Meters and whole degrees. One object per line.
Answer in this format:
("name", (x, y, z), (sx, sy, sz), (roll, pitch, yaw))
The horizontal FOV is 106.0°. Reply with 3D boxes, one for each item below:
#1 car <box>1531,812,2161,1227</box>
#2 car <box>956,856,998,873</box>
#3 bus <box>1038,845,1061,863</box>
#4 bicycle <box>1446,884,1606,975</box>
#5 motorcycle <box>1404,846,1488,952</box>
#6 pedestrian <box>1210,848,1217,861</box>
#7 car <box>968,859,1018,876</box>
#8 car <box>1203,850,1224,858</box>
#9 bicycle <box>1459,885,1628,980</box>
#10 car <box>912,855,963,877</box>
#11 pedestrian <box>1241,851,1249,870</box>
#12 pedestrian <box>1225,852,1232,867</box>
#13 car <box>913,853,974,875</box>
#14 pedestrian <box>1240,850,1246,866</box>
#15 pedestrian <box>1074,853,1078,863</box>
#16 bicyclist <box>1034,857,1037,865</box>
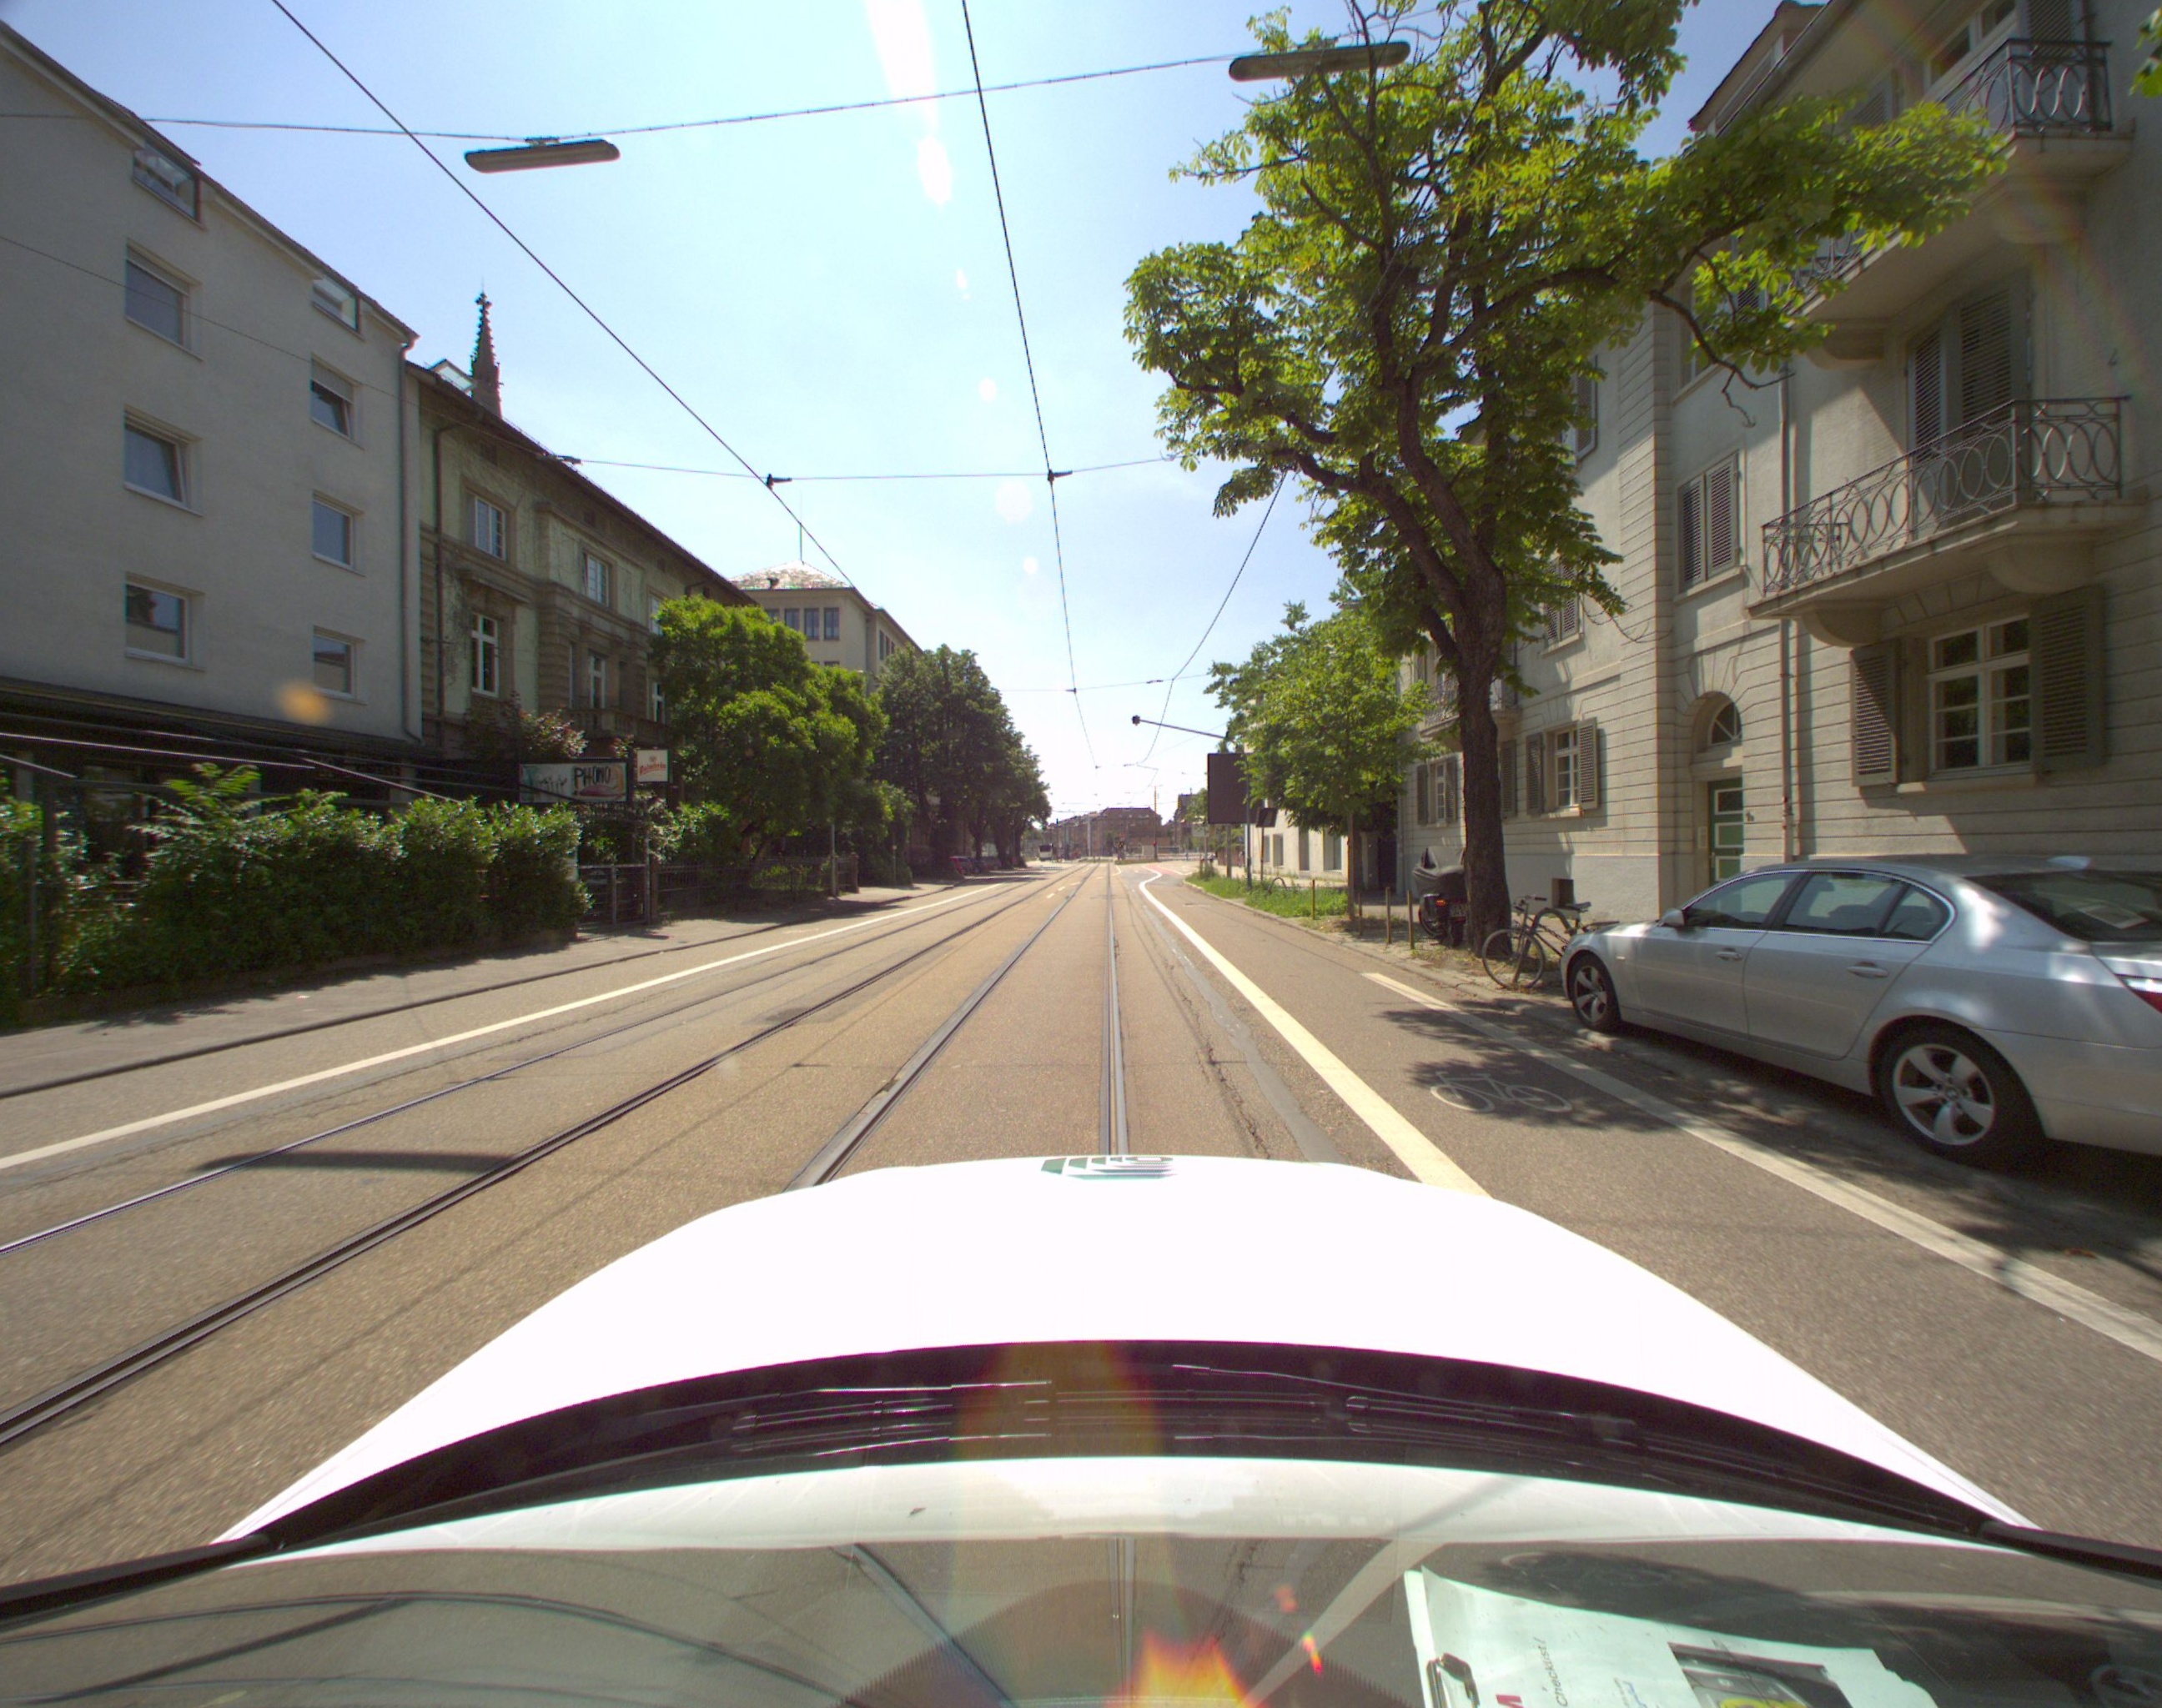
("car", (5.127, 0.666, 5.316), (1.852, 1.577, 4.880), (0, -1, 2))
("car", (-9.991, 0.996, 78.412), (3.684, 1.520, 1.655), (2, -1, -27))
("bus", (-6.037, -0.007, 158.499), (2.998, 3.158, 17.509), (-1, 0, 3))
("bicycle", (5.180, 0.869, 9.520), (1.651, 1.016, 0.372), (0, -2, 2))
("motorcycle", (5.712, 0.638, 12.905), (0.740, 1.506, 2.568), (0, 0, 13))
("pedestrian", (17.853, 0.062, 109.578), (0.810, 1.808, 0.701), (0, 0, 6))
("car", (-7.461, 1.123, 68.945), (3.939, 1.374, 1.656), (0, 0, -24))
("car", (25.118, -0.008, 154.031), (1.974, 1.438, 4.735), (-1, -1, 36))
("bicycle", (5.150, 0.868, 9.104), (1.651, 1.015, 0.372), (-1, 0, 2))
("car", (-10.424, 0.873, 59.058), (3.357, 1.516, 1.656), (1, -1, -24))
("pedestrian", (16.364, 0.645, 81.272), (0.622, 1.773, 0.722), (-3, 1, 17))
("pedestrian", (15.690, 0.595, 86.622), (0.657, 1.647, 0.625), (0, 0, 7))
("car", (-10.466, 0.755, 62.099), (4.332, 1.584, 1.654), (2, -1, -28))
("pedestrian", (16.120, 0.385, 81.091), (0.512, 1.533, 0.599), (0, 0, 7))
("pedestrian", (-0.867, 0.695, 147.470), (0.672, 1.909, 0.639), (0, 0, -8))
("bicyclist", (-10.017, 1.534, 179.299), (0.818, 1.709, 0.770), (0, 0, 0))
